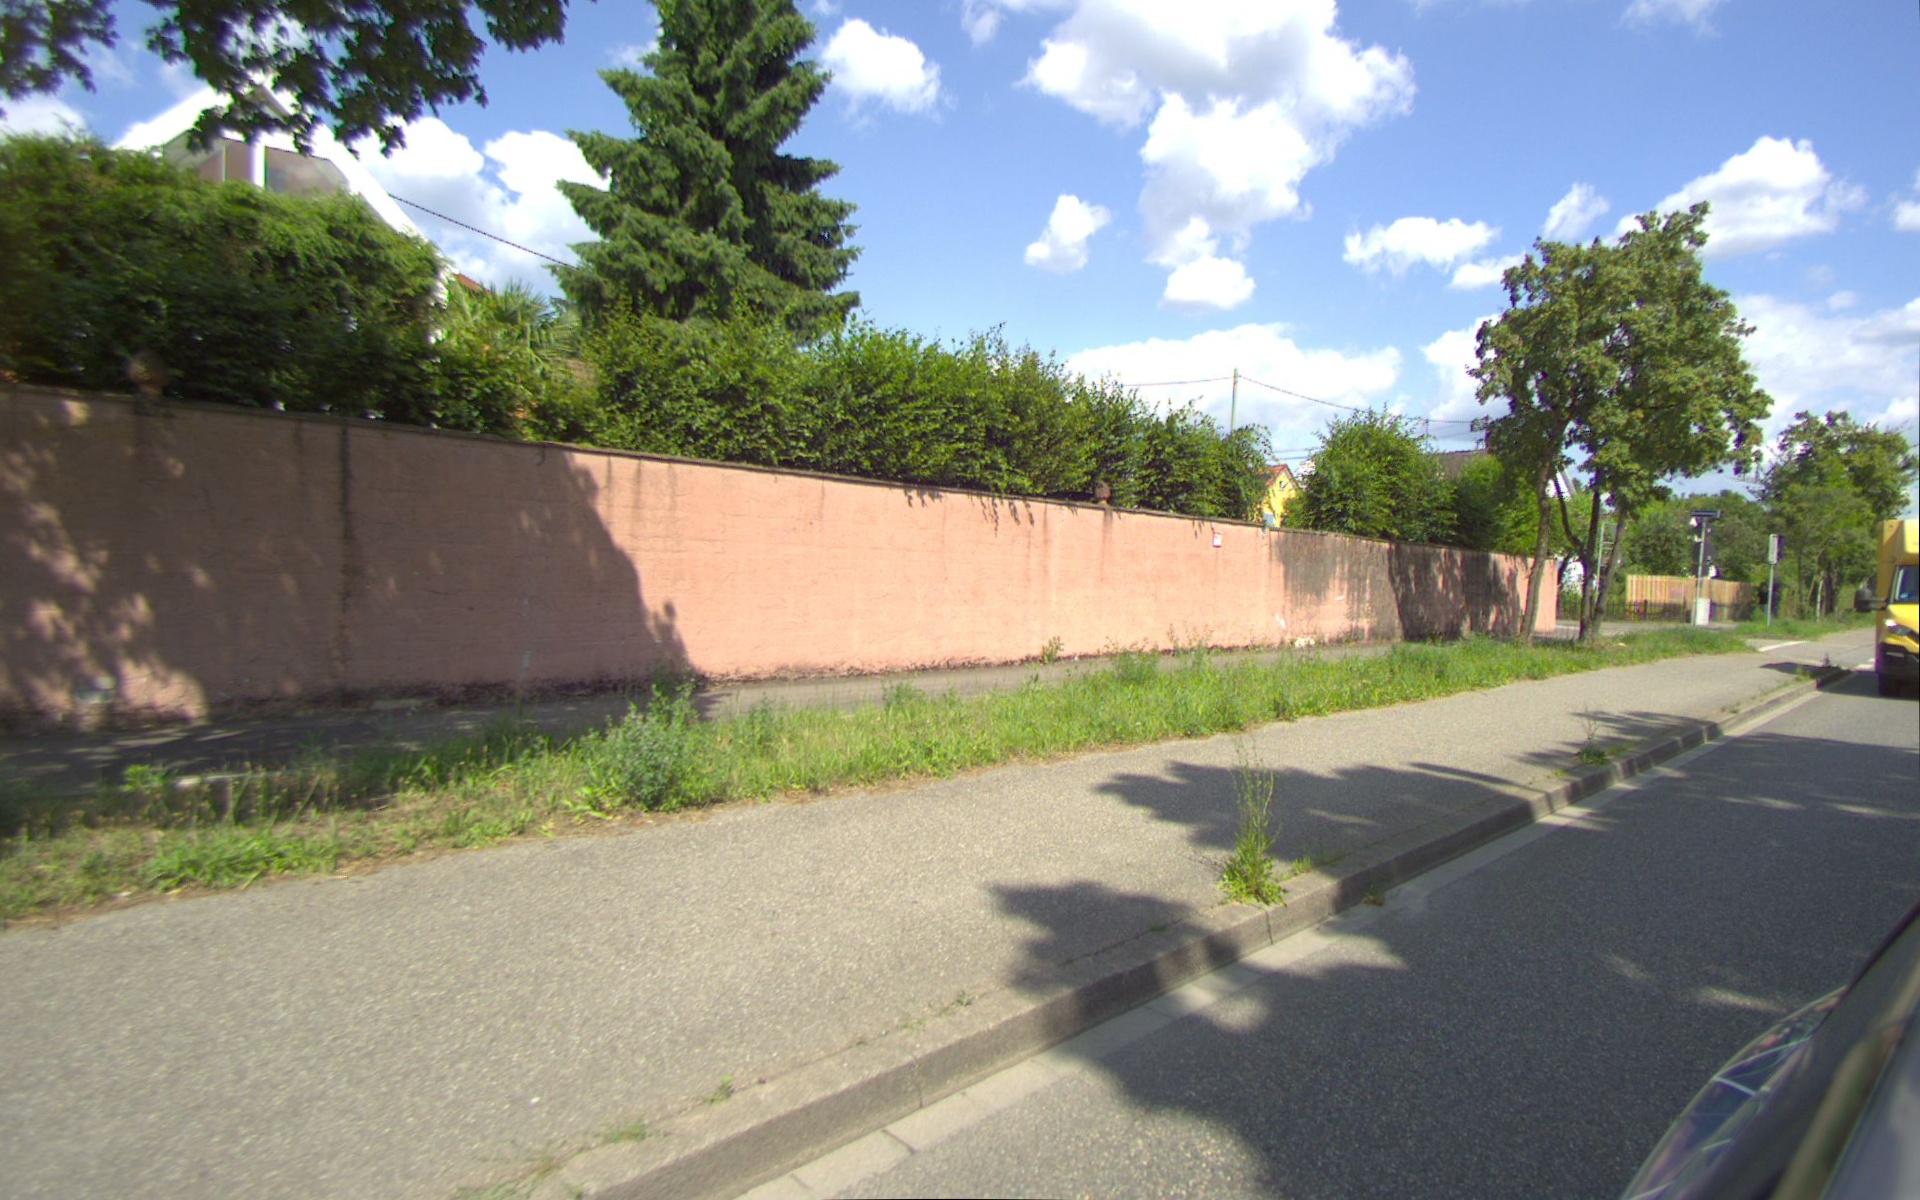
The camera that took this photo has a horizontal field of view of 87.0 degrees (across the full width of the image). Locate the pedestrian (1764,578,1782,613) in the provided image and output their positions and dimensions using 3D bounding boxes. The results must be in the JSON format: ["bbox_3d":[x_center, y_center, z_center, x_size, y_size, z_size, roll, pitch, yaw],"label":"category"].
[{"bbox_3d":[39.778,-0.218,49.528,0.623,1.697,0.560,1,1,-43],"label":"pedestrian"}]

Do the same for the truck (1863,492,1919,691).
[{"bbox_3d":[17.245,-0.052,17.158,7.893,2.917,2.267,1,0,-44],"label":"truck"}]
